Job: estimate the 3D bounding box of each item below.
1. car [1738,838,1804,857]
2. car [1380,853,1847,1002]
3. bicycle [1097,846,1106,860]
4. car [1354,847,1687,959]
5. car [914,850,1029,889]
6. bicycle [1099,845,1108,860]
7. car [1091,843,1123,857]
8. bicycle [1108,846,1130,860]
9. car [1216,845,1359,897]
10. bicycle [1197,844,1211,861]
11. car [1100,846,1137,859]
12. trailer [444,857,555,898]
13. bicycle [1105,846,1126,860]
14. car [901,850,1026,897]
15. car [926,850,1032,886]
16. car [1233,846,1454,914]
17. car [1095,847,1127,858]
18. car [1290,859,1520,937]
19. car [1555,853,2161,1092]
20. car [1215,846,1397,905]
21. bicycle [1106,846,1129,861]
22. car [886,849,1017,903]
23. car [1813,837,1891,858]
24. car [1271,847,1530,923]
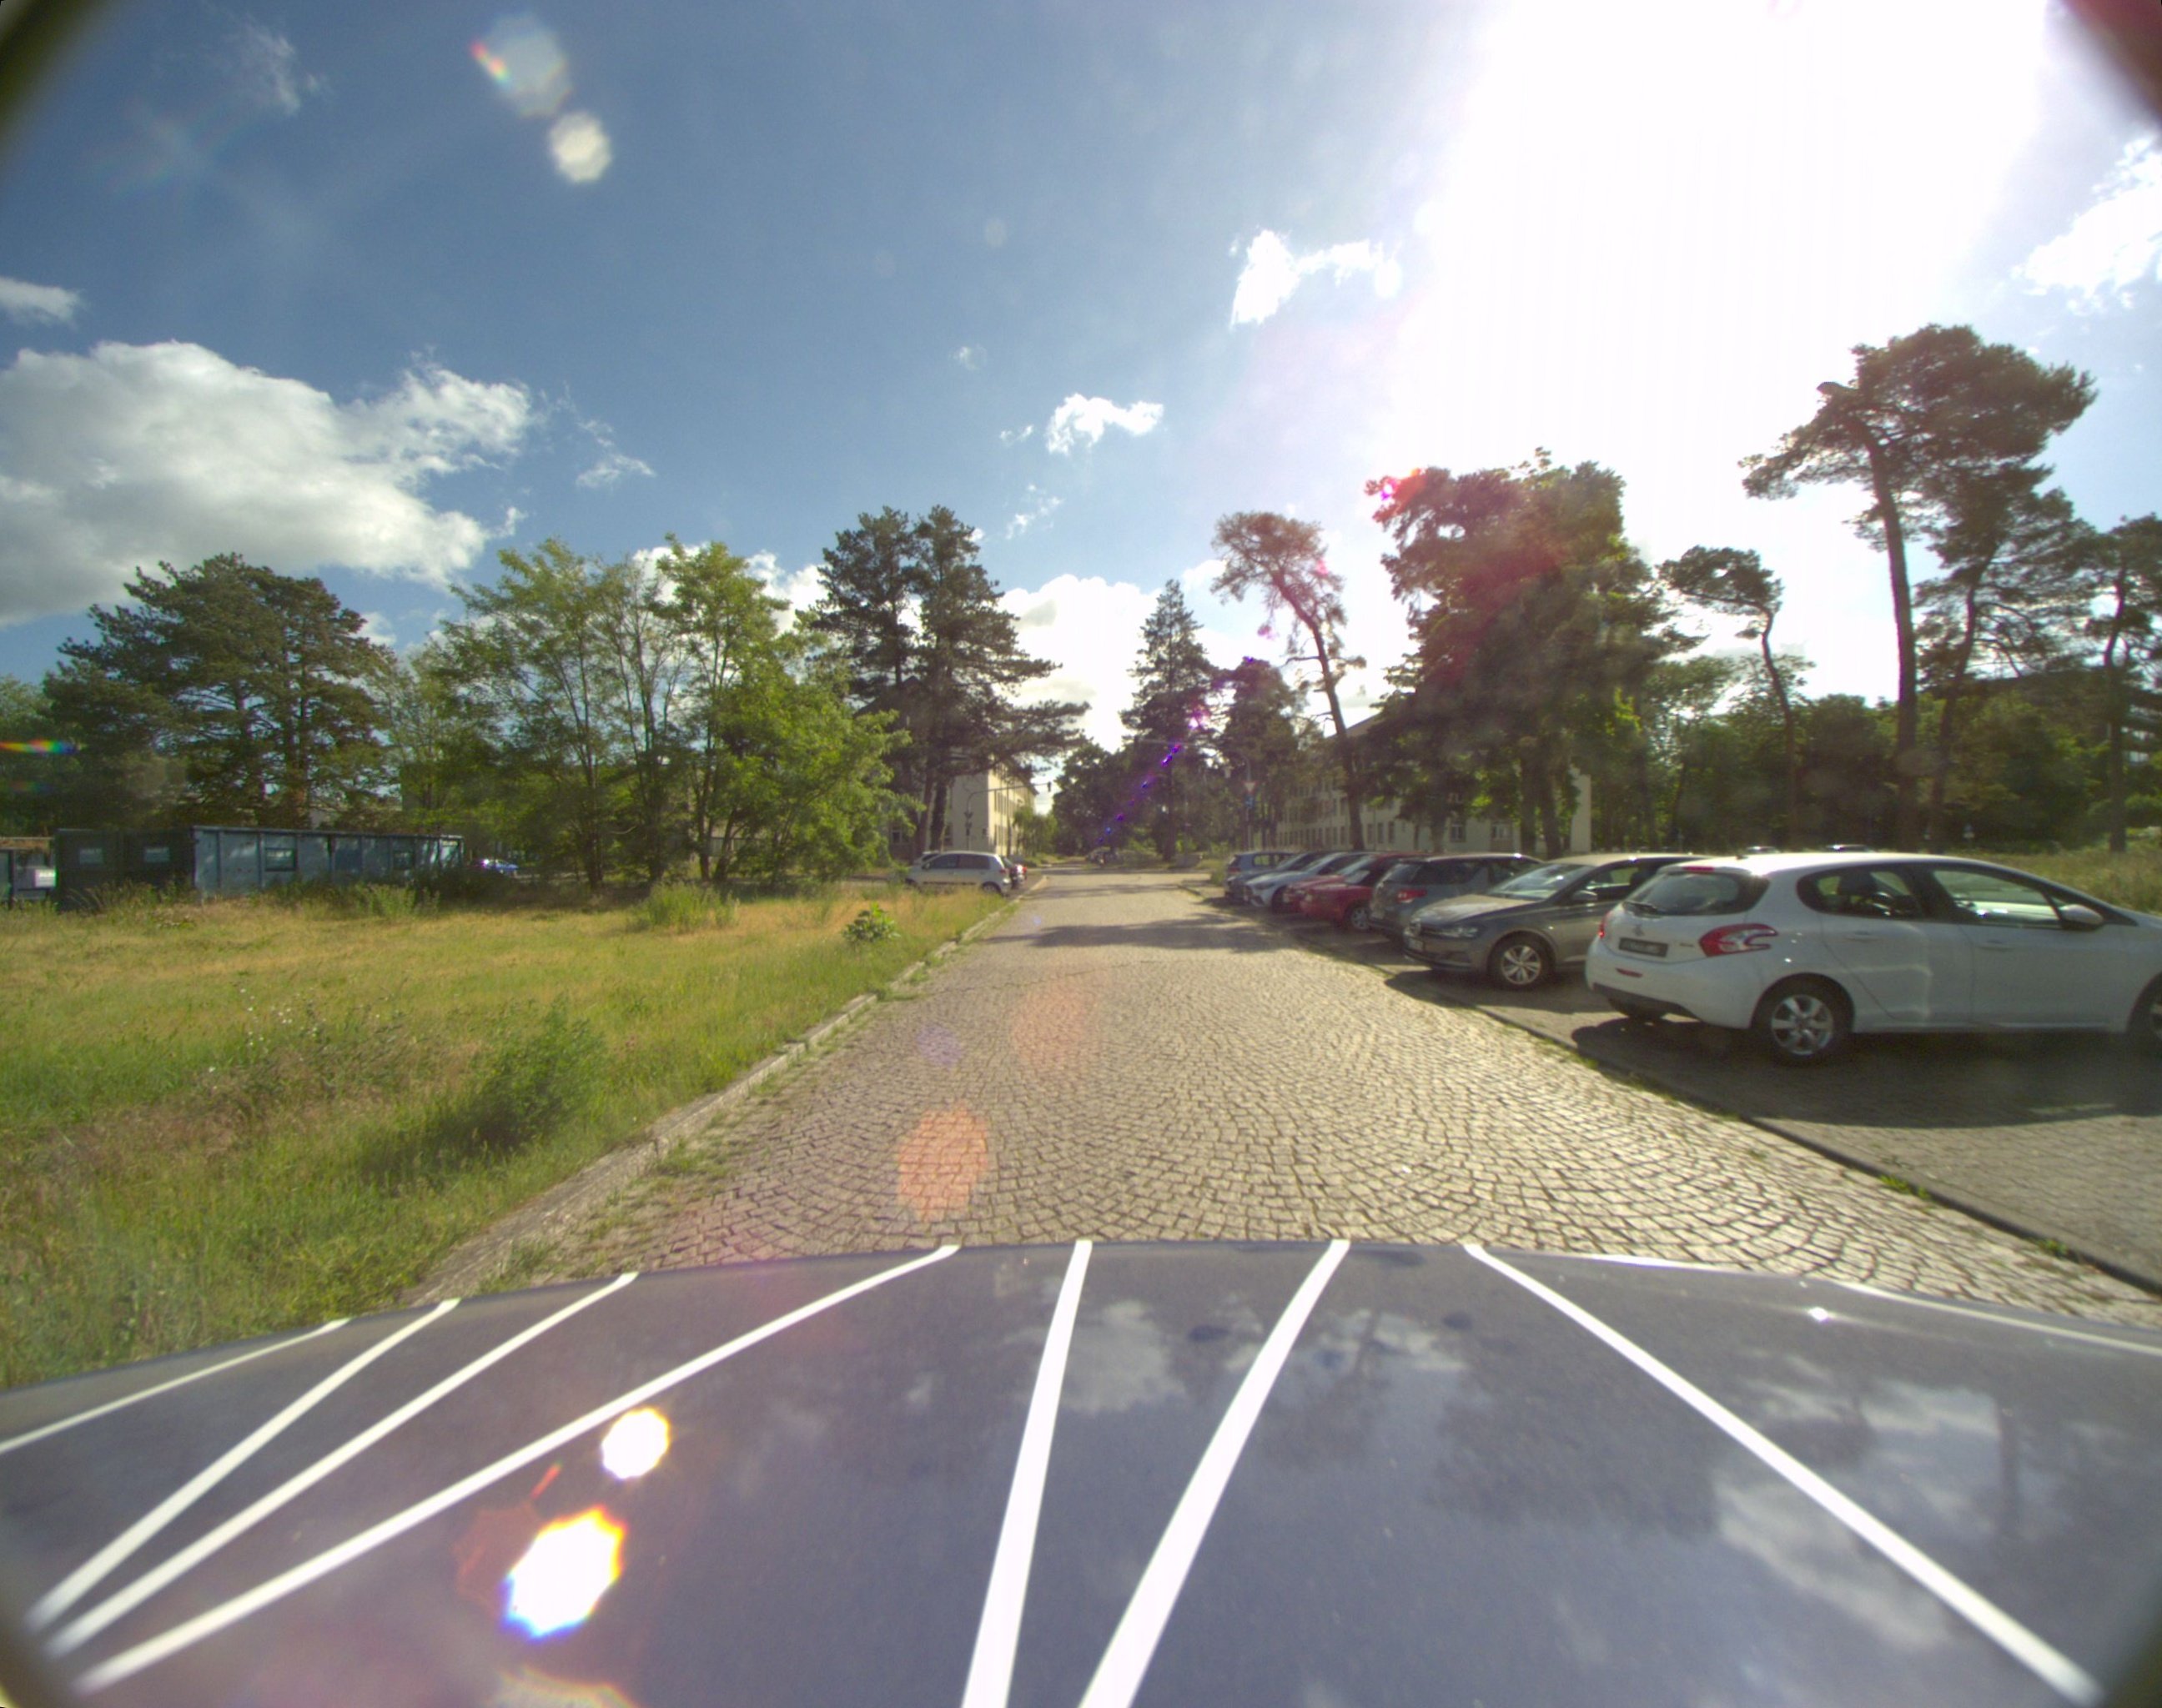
[{"bbox_3d":[59.955,-0.570,66.097,4.105,1.572,1.720,0,1,2],"label":"car"},{"bbox_3d":[5.934,0.776,8.913,4.086,1.417,1.923,-2,1,2],"label":"car"},{"bbox_3d":[1.914,-0.101,72.105,0.621,1.276,2.114,-3,1,-4],"label":"bicycle"},{"bbox_3d":[6.612,0.699,11.789,4.086,1.444,1.821,-2,2,2],"label":"car"},{"bbox_3d":[-4.481,0.622,31.647,4.525,1.456,1.838,2,1,-2],"label":"car"},{"bbox_3d":[2.051,-0.137,69.927,0.621,1.342,2.114,-3,1,-4],"label":"bicycle"},{"bbox_3d":[3.561,-0.551,105.463,4.227,1.903,1.816,0,1,-9],"label":"car"},{"bbox_3d":[3.776,-0.063,75.510,2.114,1.276,0.621,-3,1,-6],"label":"bicycle"},{"bbox_3d":[6.552,0.526,24.453,4.037,1.474,1.948,-2,0,-1],"label":"car"},{"bbox_3d":[9.806,-0.156,60.642,0.621,1.276,2.114,-4,1,-1],"label":"bicycle"},{"bbox_3d":[4.357,-0.180,88.108,4.044,1.514,1.816,0,1,-7],"label":"car"},{"bbox_3d":[-17.276,0.697,22.632,2.405,1.099,1.035,-2,1,-3],"label":"trailer"},{"bbox_3d":[3.560,-0.095,78.088,2.114,1.276,0.621,-3,1,-4],"label":"bicycle"},{"bbox_3d":[-4.016,0.662,26.410,4.015,1.433,1.843,2,1,-1],"label":"car"},{"bbox_3d":[-4.569,0.608,34.462,4.548,1.413,1.894,2,1,0],"label":"car"},{"bbox_3d":[6.469,0.615,19.115,4.876,1.413,1.938,-2,2,1],"label":"car"},{"bbox_3d":[3.959,-0.203,99.847,4.044,1.356,1.817,0,1,-6],"label":"car"},{"bbox_3d":[6.034,0.802,14.469,3.639,1.227,1.759,-2,2,2],"label":"car"},{"bbox_3d":[6.442,0.802,6.025,4.206,1.467,1.823,-2,1,1],"label":"car"},{"bbox_3d":[6.362,0.572,21.835,4.593,1.444,1.983,-2,2,-3],"label":"car"},{"bbox_3d":[3.529,-0.055,73.261,2.114,1.276,0.621,-6,2,-2],"label":"bicycle"},{"bbox_3d":[-3.965,0.668,23.665,3.750,1.468,1.751,2,1,-1],"label":"car"},{"bbox_3d":[59.324,-0.499,58.509,4.056,1.620,1.841,0,1,2],"label":"car"},{"bbox_3d":[6.878,0.643,16.767,4.876,1.413,1.938,-2,1,1],"label":"car"}]
